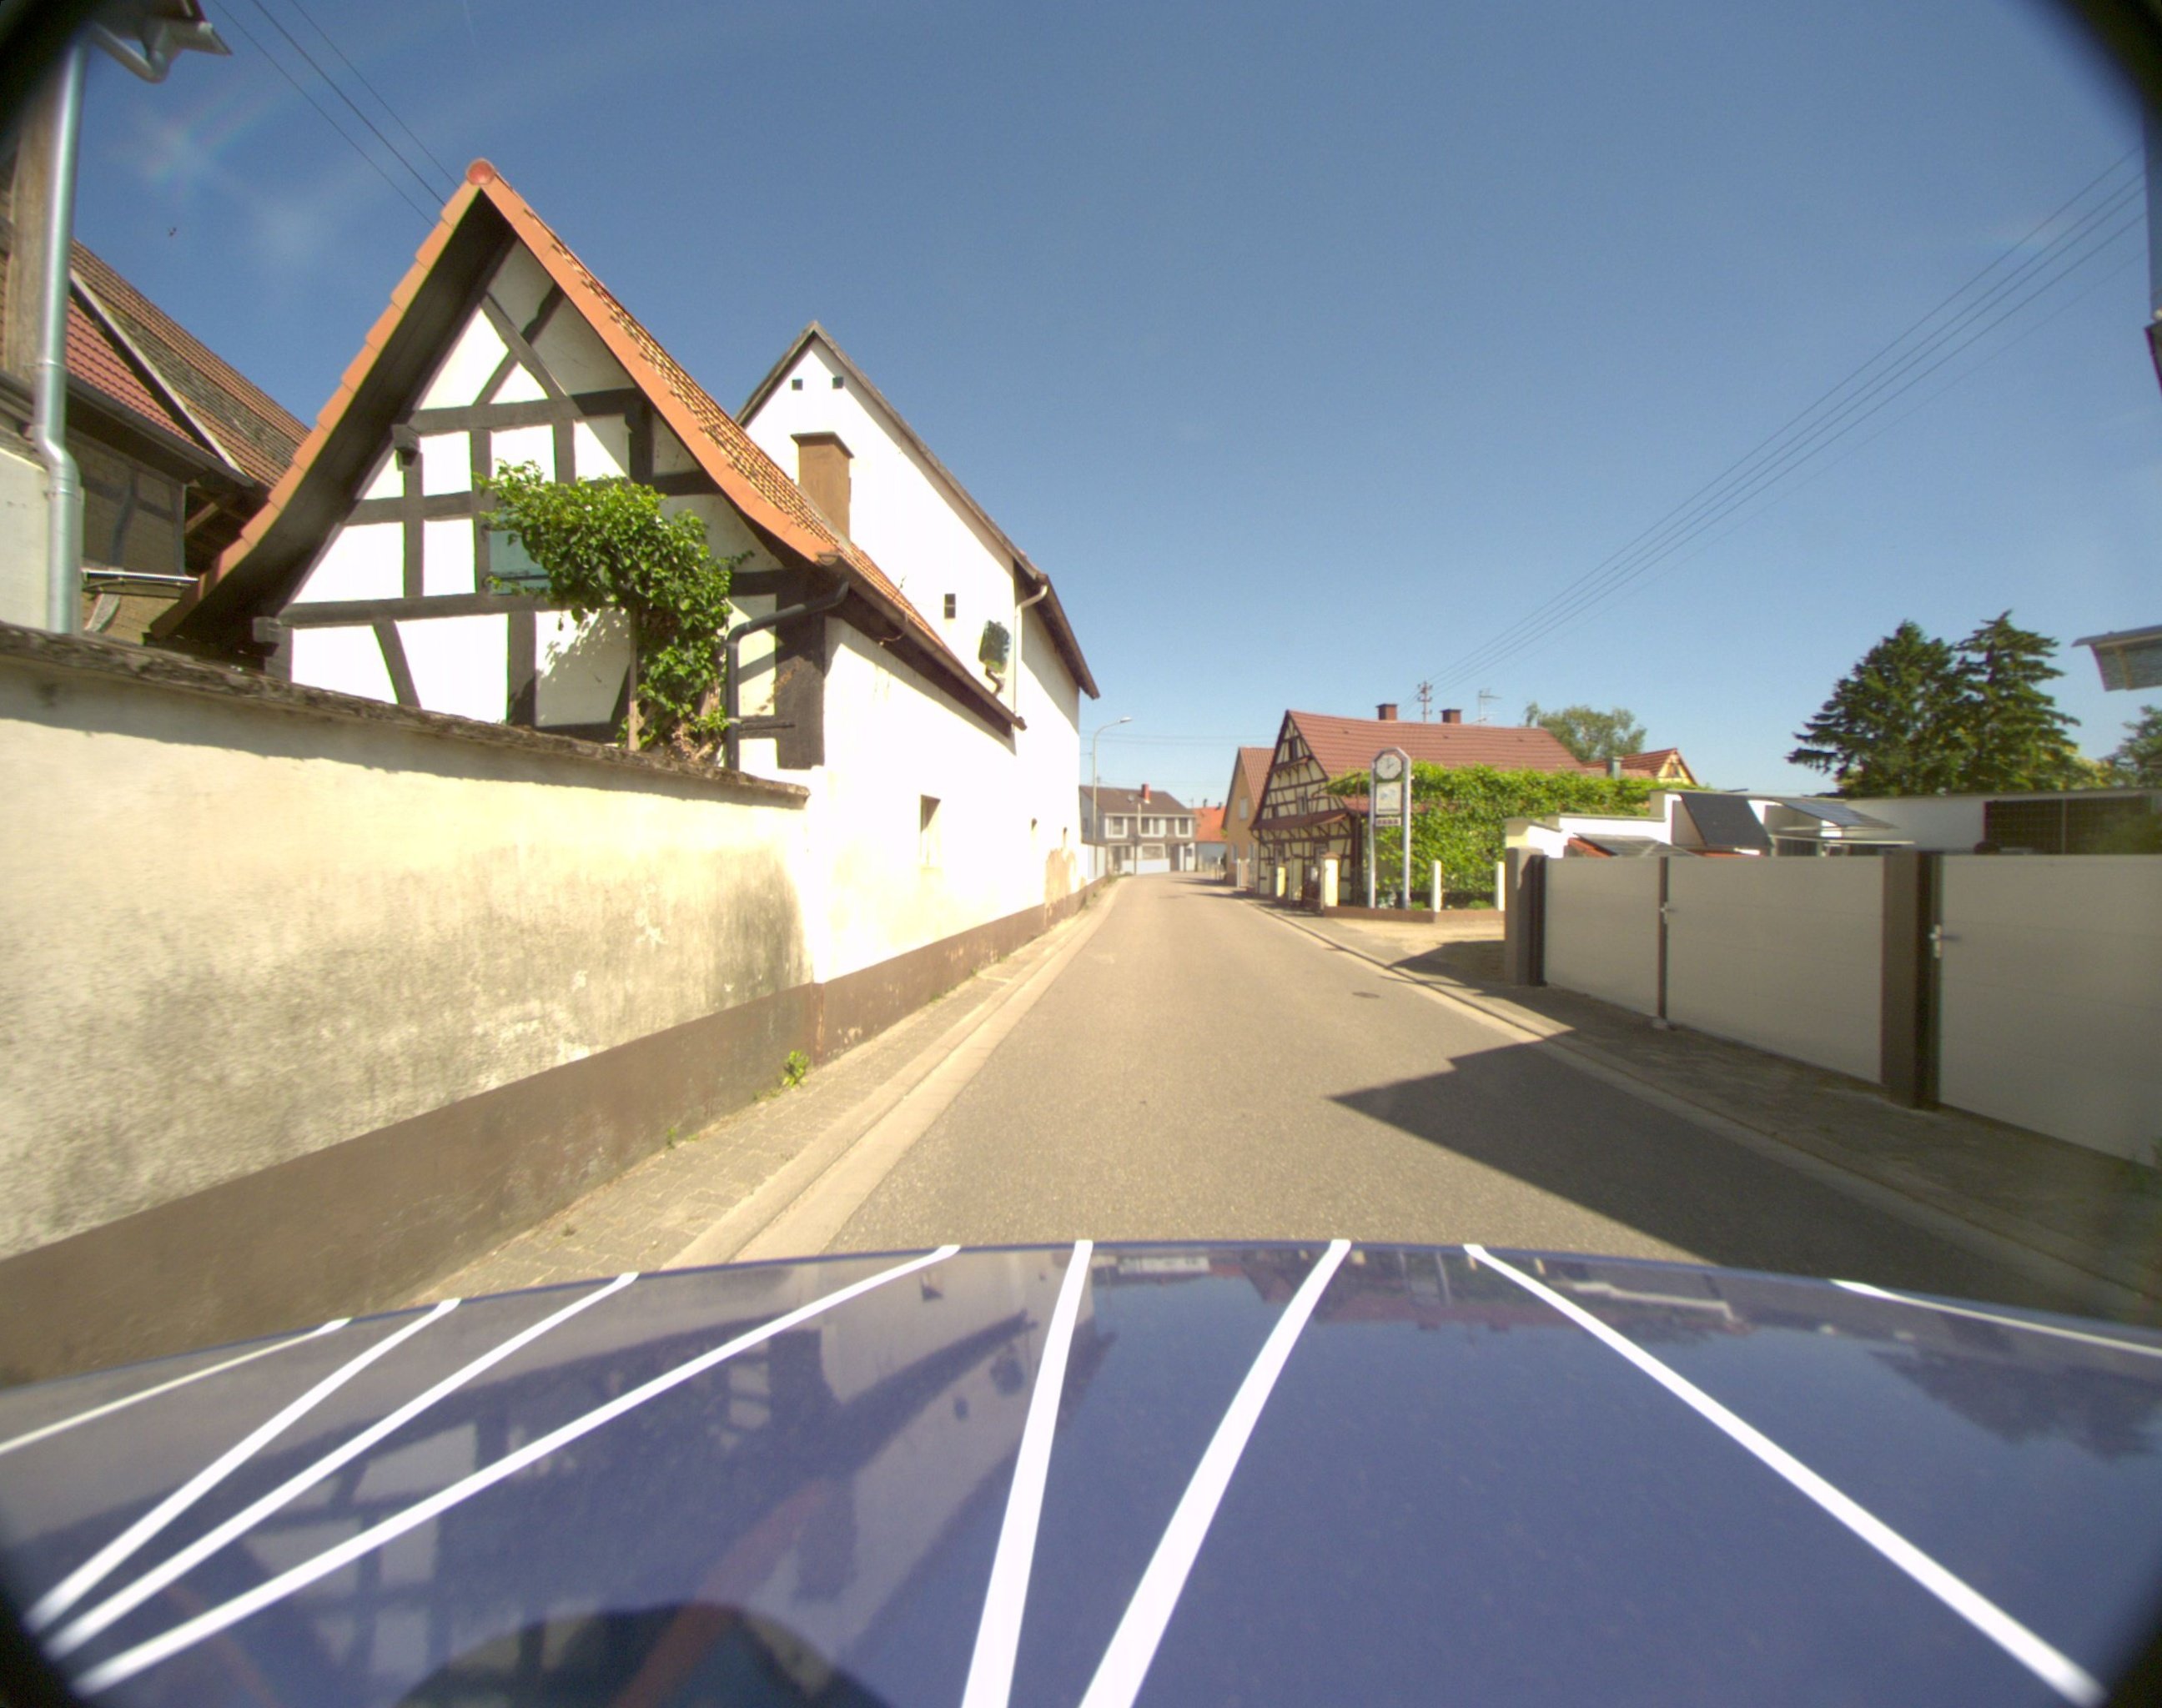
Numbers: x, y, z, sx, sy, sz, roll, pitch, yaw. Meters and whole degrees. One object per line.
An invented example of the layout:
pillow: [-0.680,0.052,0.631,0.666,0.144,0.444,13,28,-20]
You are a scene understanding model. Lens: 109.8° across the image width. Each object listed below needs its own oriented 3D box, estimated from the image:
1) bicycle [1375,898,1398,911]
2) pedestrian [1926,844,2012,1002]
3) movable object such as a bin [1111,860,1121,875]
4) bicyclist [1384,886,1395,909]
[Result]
bicycle: [7.810,1.297,19.428,0.534,0.303,0.220,1,2,21]
pedestrian: [9.490,0.711,8.134,0.446,1.635,0.406,1,2,27]
movable object such as a bin: [2.241,0.879,48.645,0.552,0.971,0.432,0,1,-20]
bicyclist: [7.873,1.109,19.394,0.246,0.579,0.219,0,2,20]
